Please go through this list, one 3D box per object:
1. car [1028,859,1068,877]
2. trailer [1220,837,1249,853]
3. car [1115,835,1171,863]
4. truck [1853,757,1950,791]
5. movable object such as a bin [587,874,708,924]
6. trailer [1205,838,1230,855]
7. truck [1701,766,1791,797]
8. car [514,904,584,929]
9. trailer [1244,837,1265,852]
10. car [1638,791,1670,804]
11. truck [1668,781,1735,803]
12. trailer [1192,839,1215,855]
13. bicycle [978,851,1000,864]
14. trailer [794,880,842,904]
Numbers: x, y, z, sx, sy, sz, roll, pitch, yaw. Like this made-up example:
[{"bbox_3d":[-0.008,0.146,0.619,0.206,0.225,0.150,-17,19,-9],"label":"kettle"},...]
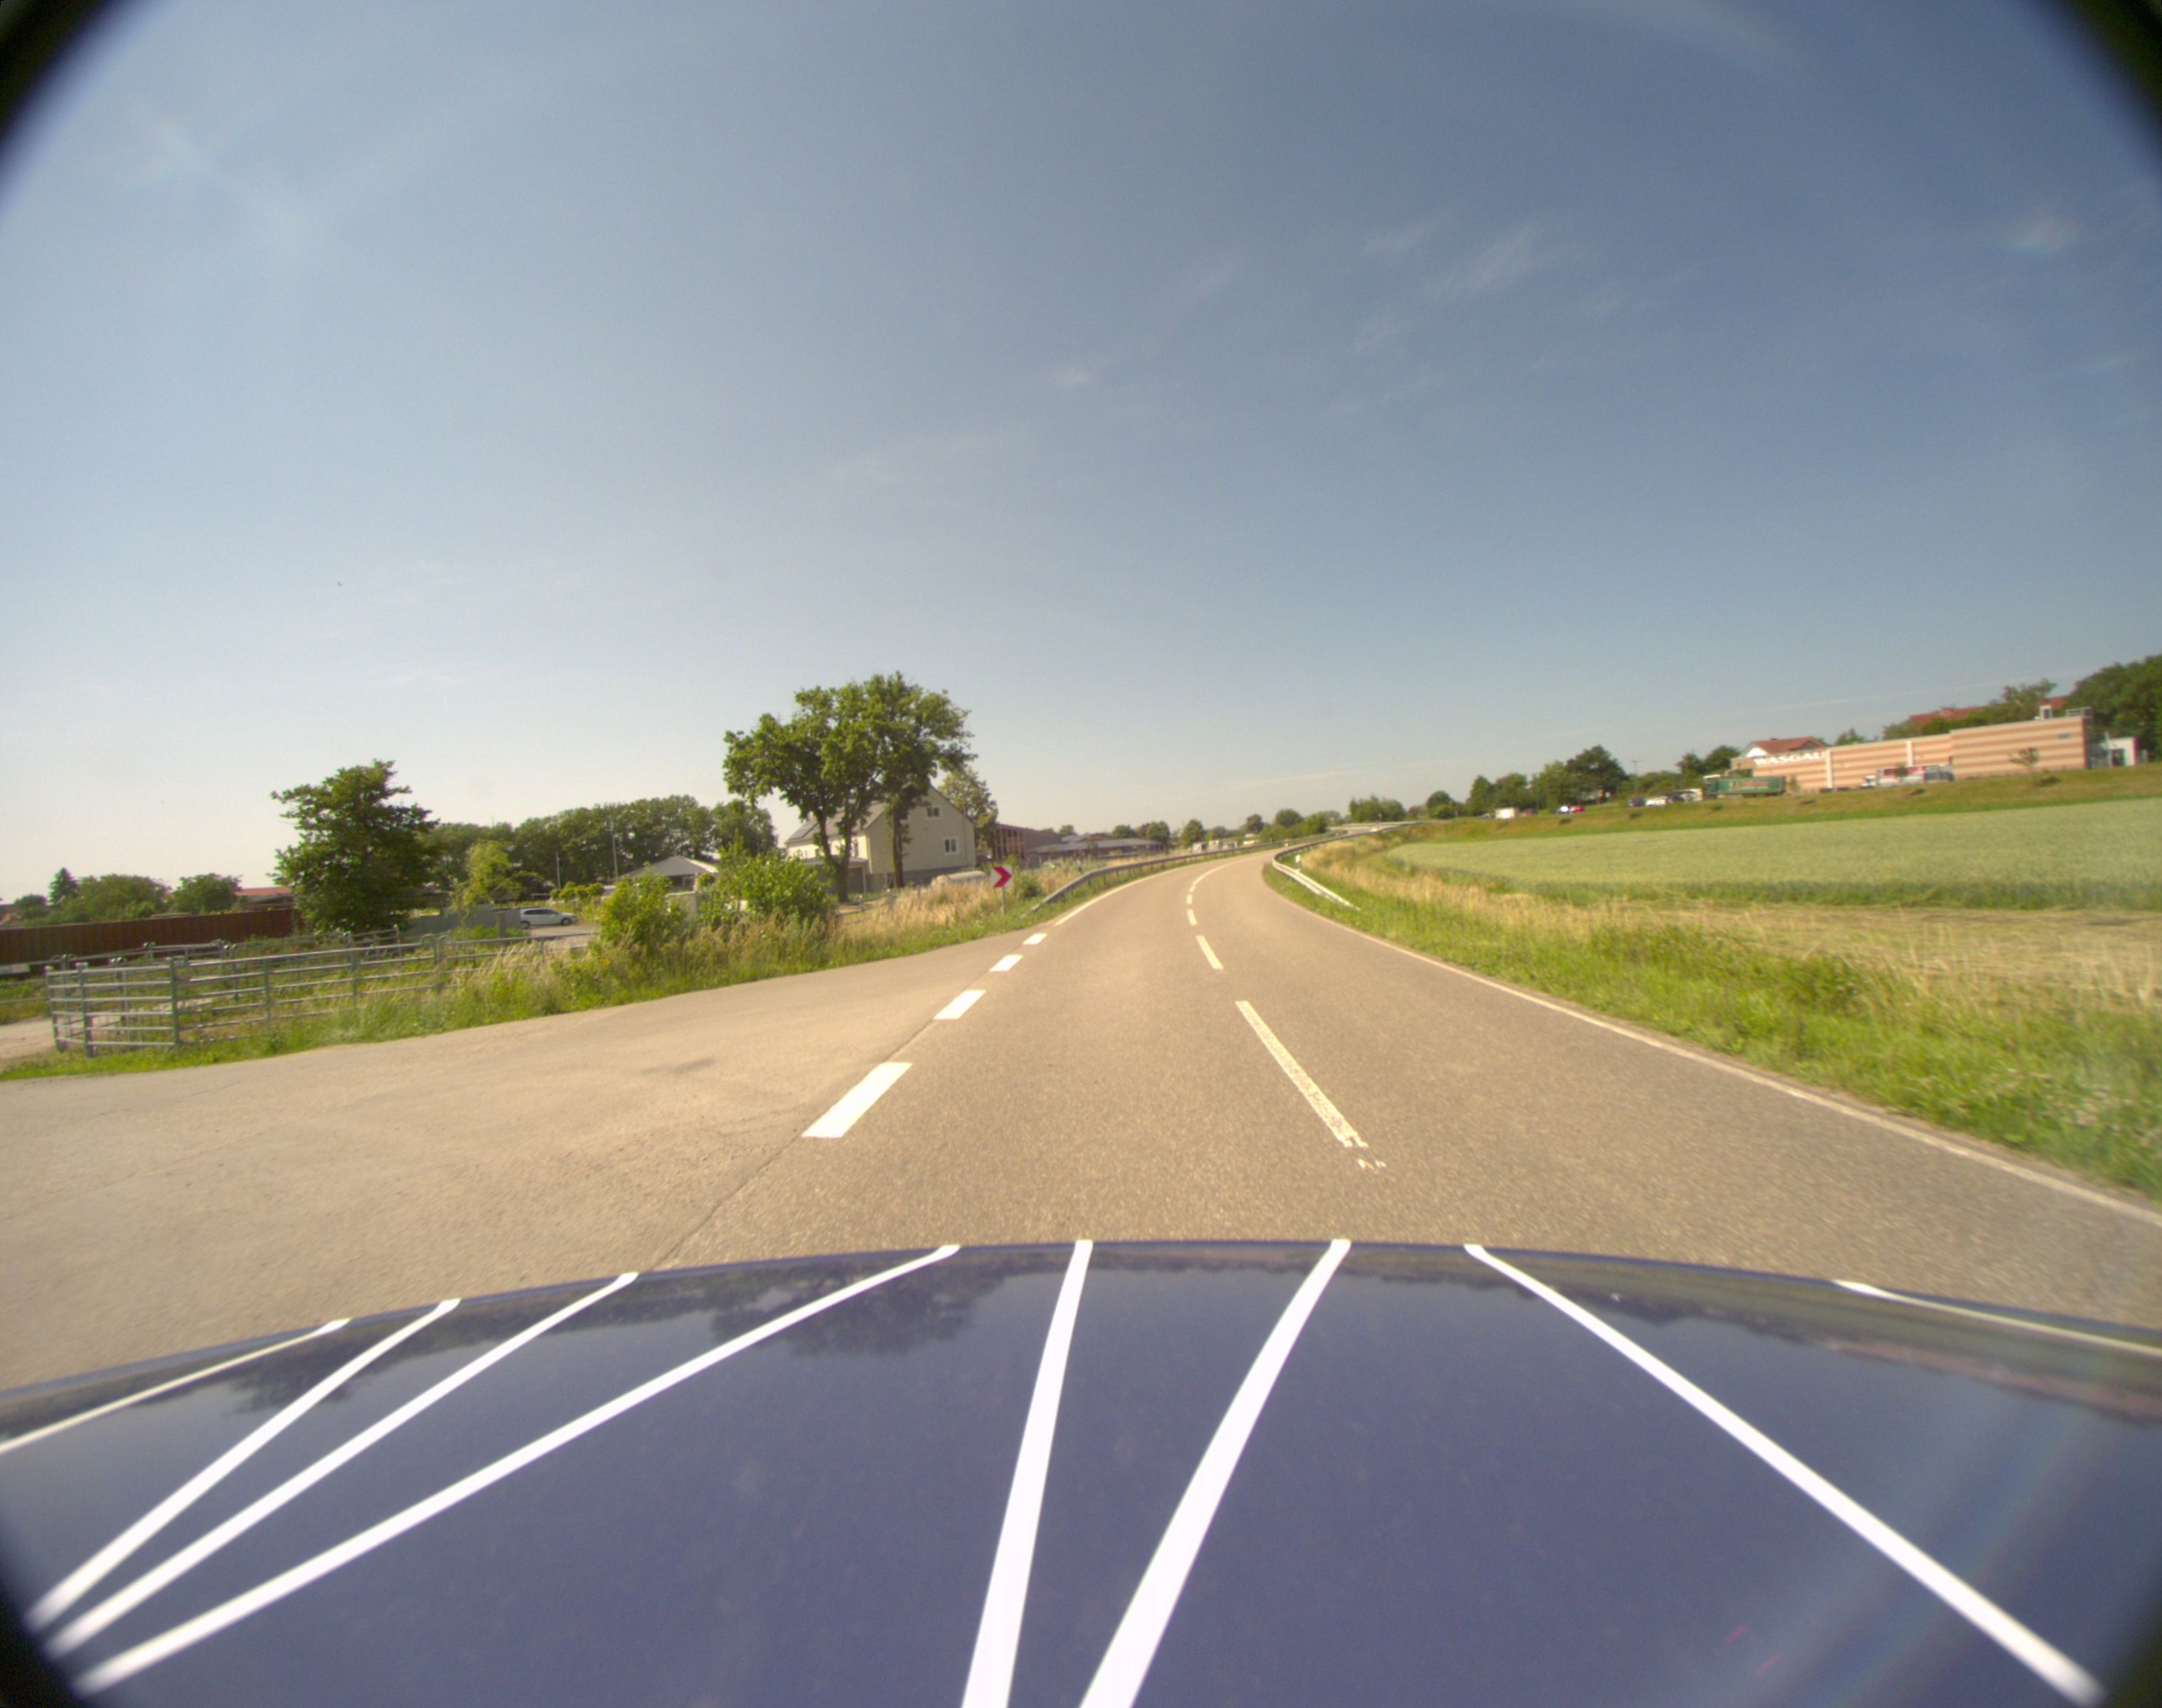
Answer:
[{"bbox_3d":[-3.547,1.527,81.775,1.936,1.571,4.364,-8,1,-40],"label":"car"},{"bbox_3d":[29.455,-1.735,145.987,2.212,2.672,5.176,-5,0,-39],"label":"trailer"},{"bbox_3d":[9.579,-0.768,118.331,2.784,3.631,8.975,-5,0,-42],"label":"car"},{"bbox_3d":[115.402,-11.215,106.970,2.882,3.544,8.862,-8,2,-37],"label":"truck"},{"bbox_3d":[-30.381,3.085,53.460,3.005,2.753,6.516,-6,0,37],"label":"movable object such as a bin"},{"bbox_3d":[23.944,-1.266,133.684,2.235,2.848,5.038,-4,0,-14],"label":"trailer"},{"bbox_3d":[102.911,-11.139,117.793,2.882,3.458,9.920,-8,2,-33],"label":"truck"},{"bbox_3d":[-38.554,4.513,55.067,3.885,1.564,1.995,0,-3,-43],"label":"car"},{"bbox_3d":[36.466,-2.073,159.712,2.168,2.789,3.412,-6,1,-41],"label":"trailer"},{"bbox_3d":[104.732,-10.287,138.878,2.003,1.694,4.323,-8,2,-38],"label":"car"},{"bbox_3d":[131.498,-13.128,161.297,10.694,3.173,2.450,-5,2,37],"label":"truck"},{"bbox_3d":[21.035,-1.226,130.289,2.176,2.656,4.474,-4,2,-14],"label":"trailer"},{"bbox_3d":[-9.089,0.335,75.010,1.973,1.185,0.713,-5,1,-40],"label":"bicycle"},{"bbox_3d":[-21.023,3.007,60.674,3.145,1.488,1.712,-7,2,-33],"label":"trailer"}]
